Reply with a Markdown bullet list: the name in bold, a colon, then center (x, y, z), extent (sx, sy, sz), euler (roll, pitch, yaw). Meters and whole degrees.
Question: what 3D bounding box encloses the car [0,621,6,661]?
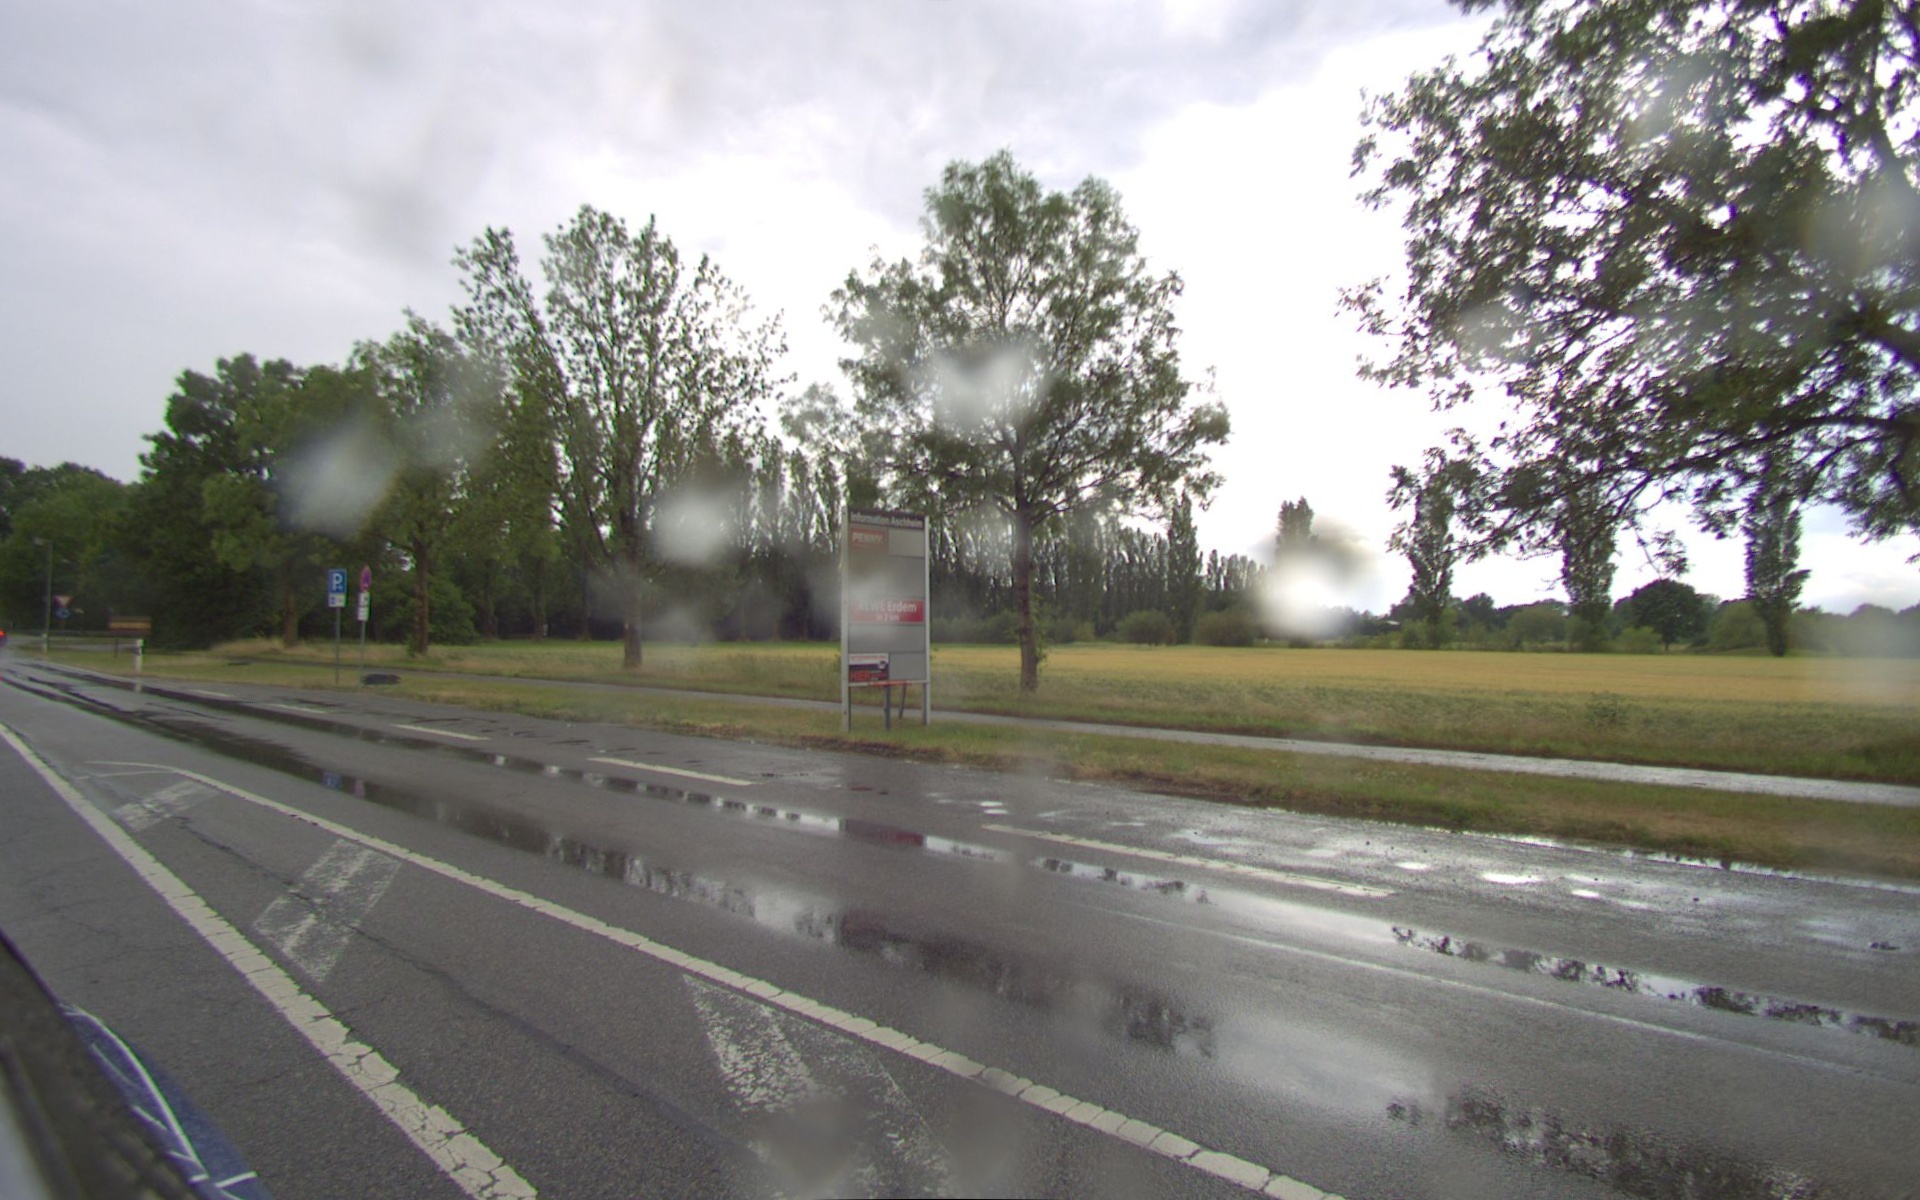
- **car**: center (-42.035, 1.751, 42.915), extent (4.355, 1.644, 1.896), euler (-1, 0, 42)
